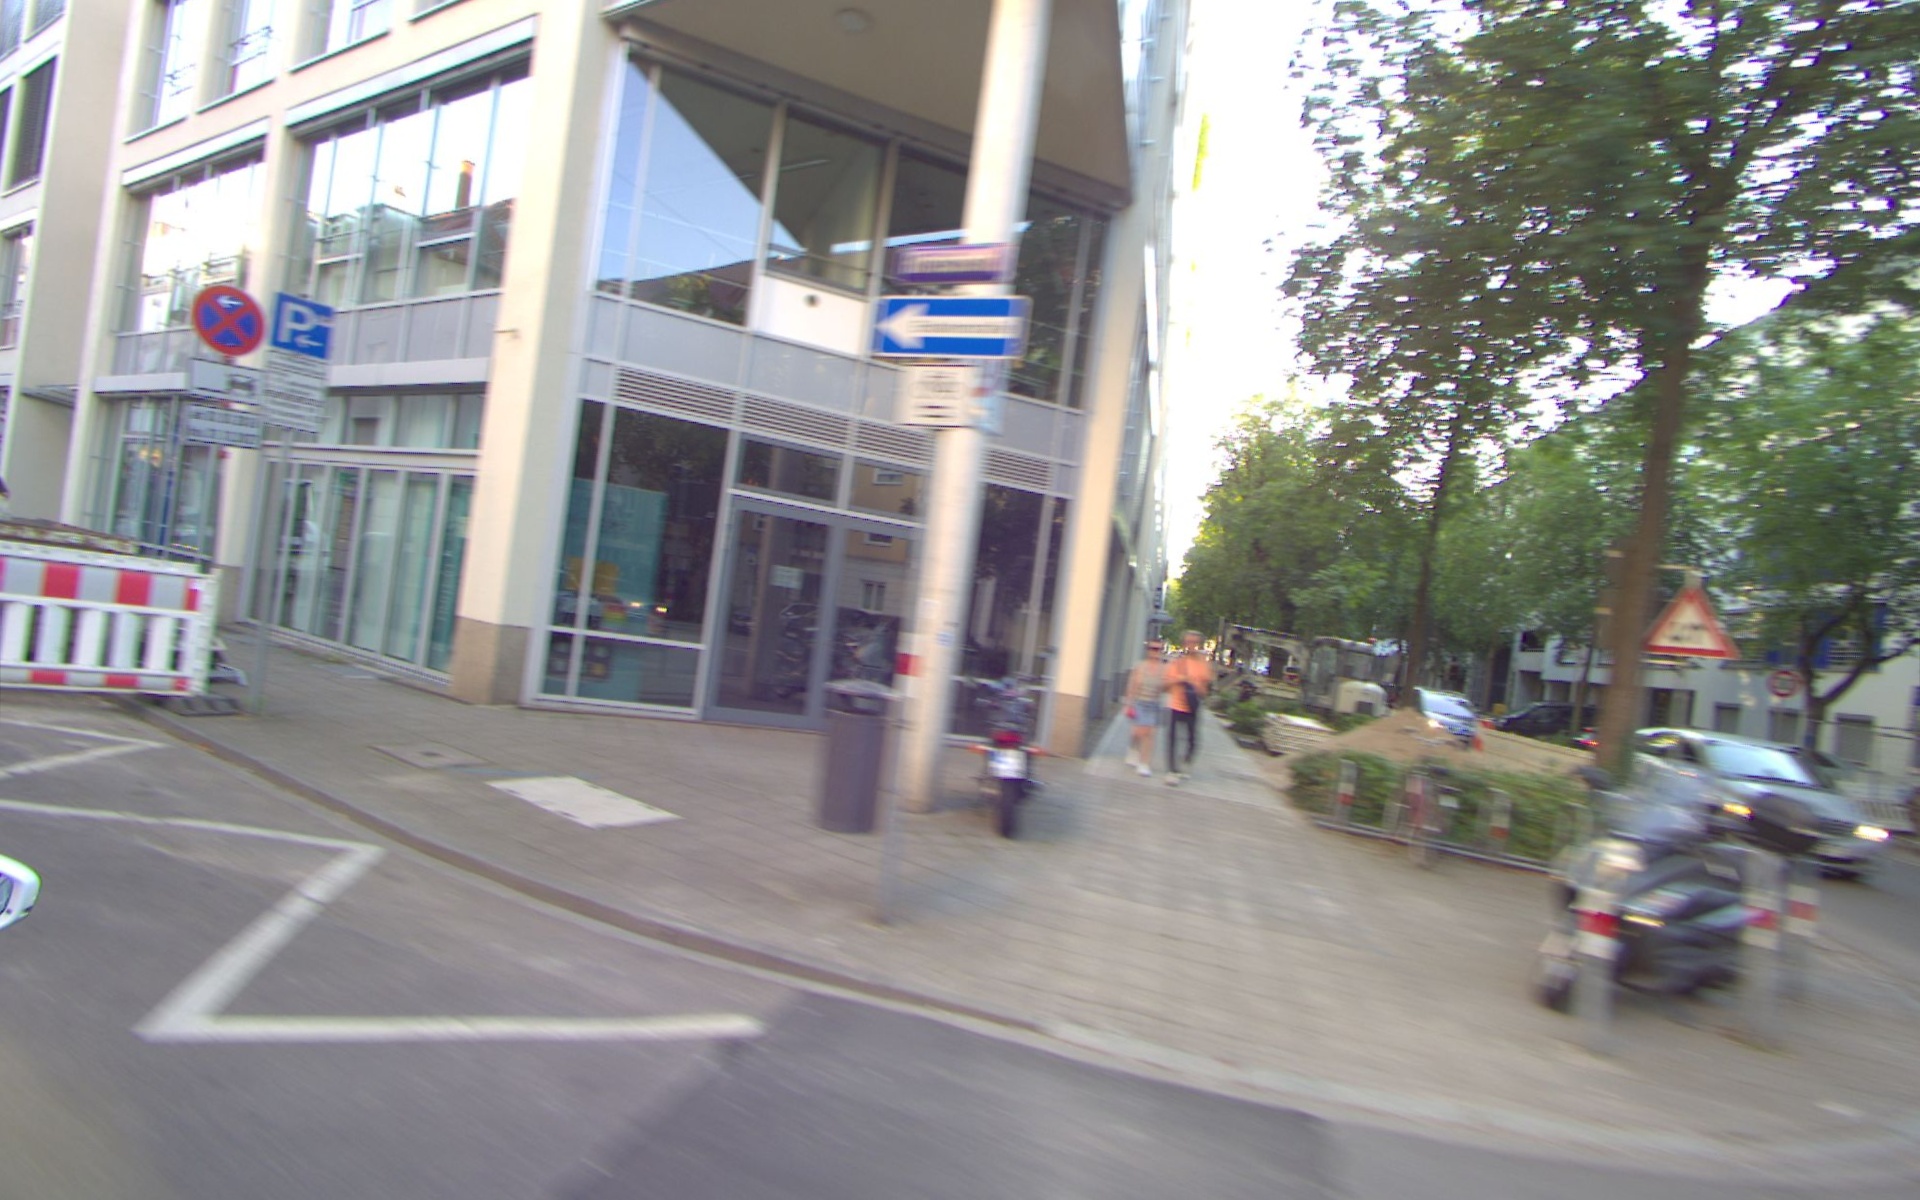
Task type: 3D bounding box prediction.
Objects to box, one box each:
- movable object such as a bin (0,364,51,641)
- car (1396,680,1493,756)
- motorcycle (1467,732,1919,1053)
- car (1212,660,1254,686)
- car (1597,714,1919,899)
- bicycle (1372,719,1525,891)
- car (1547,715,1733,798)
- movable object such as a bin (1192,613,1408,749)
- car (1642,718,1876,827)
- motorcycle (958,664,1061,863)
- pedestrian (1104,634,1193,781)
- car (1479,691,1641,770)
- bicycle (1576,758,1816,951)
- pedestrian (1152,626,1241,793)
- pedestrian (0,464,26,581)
[{"bbox_3d":[-12.340,-1.341,10.780,5.556,2.725,2.280,7,0,33],"label":"movable object such as a bin"},{"bbox_3d":[14.118,3.378,29.569,1.919,1.734,4.704,7,-1,20],"label":"car"},{"bbox_3d":[4.111,1.540,5.591,2.331,1.297,1.060,8,0,-29],"label":"motorcycle"},{"bbox_3d":[18.126,4.830,66.922,1.962,1.303,4.004,8,-1,7],"label":"car"},{"bbox_3d":[10.933,2.678,14.022,1.978,1.632,4.123,8,-1,12],"label":"car"},{"bbox_3d":[4.391,1.788,9.203,0.672,1.166,1.982,8,-1,13],"label":"bicycle"},{"bbox_3d":[19.955,4.560,29.717,3.924,1.603,2.002,8,-1,13],"label":"car"},{"bbox_3d":[7.739,1.796,23.385,3.982,2.411,2.786,8,0,6],"label":"movable object such as a bin"},{"bbox_3d":[19.747,4.223,25.089,3.924,1.826,2.002,8,-1,15],"label":"car"},{"bbox_3d":[0.378,1.177,7.963,0.547,1.186,2.309,8,-1,2],"label":"motorcycle"},{"bbox_3d":[2.165,1.221,11.636,0.758,1.554,0.643,8,0,4],"label":"pedestrian"},{"bbox_3d":[22.750,4.913,38.357,4.664,2.037,2.002,9,0,11],"label":"car"},{"bbox_3d":[6.327,2.131,8.814,0.672,1.166,1.982,8,-1,6],"label":"bicycle"},{"bbox_3d":[2.627,1.198,11.211,0.727,1.710,0.607,8,0,13],"label":"pedestrian"},{"bbox_3d":[-16.016,-1.325,16.382,0.862,1.873,0.887,8,0,37],"label":"pedestrian"}]
